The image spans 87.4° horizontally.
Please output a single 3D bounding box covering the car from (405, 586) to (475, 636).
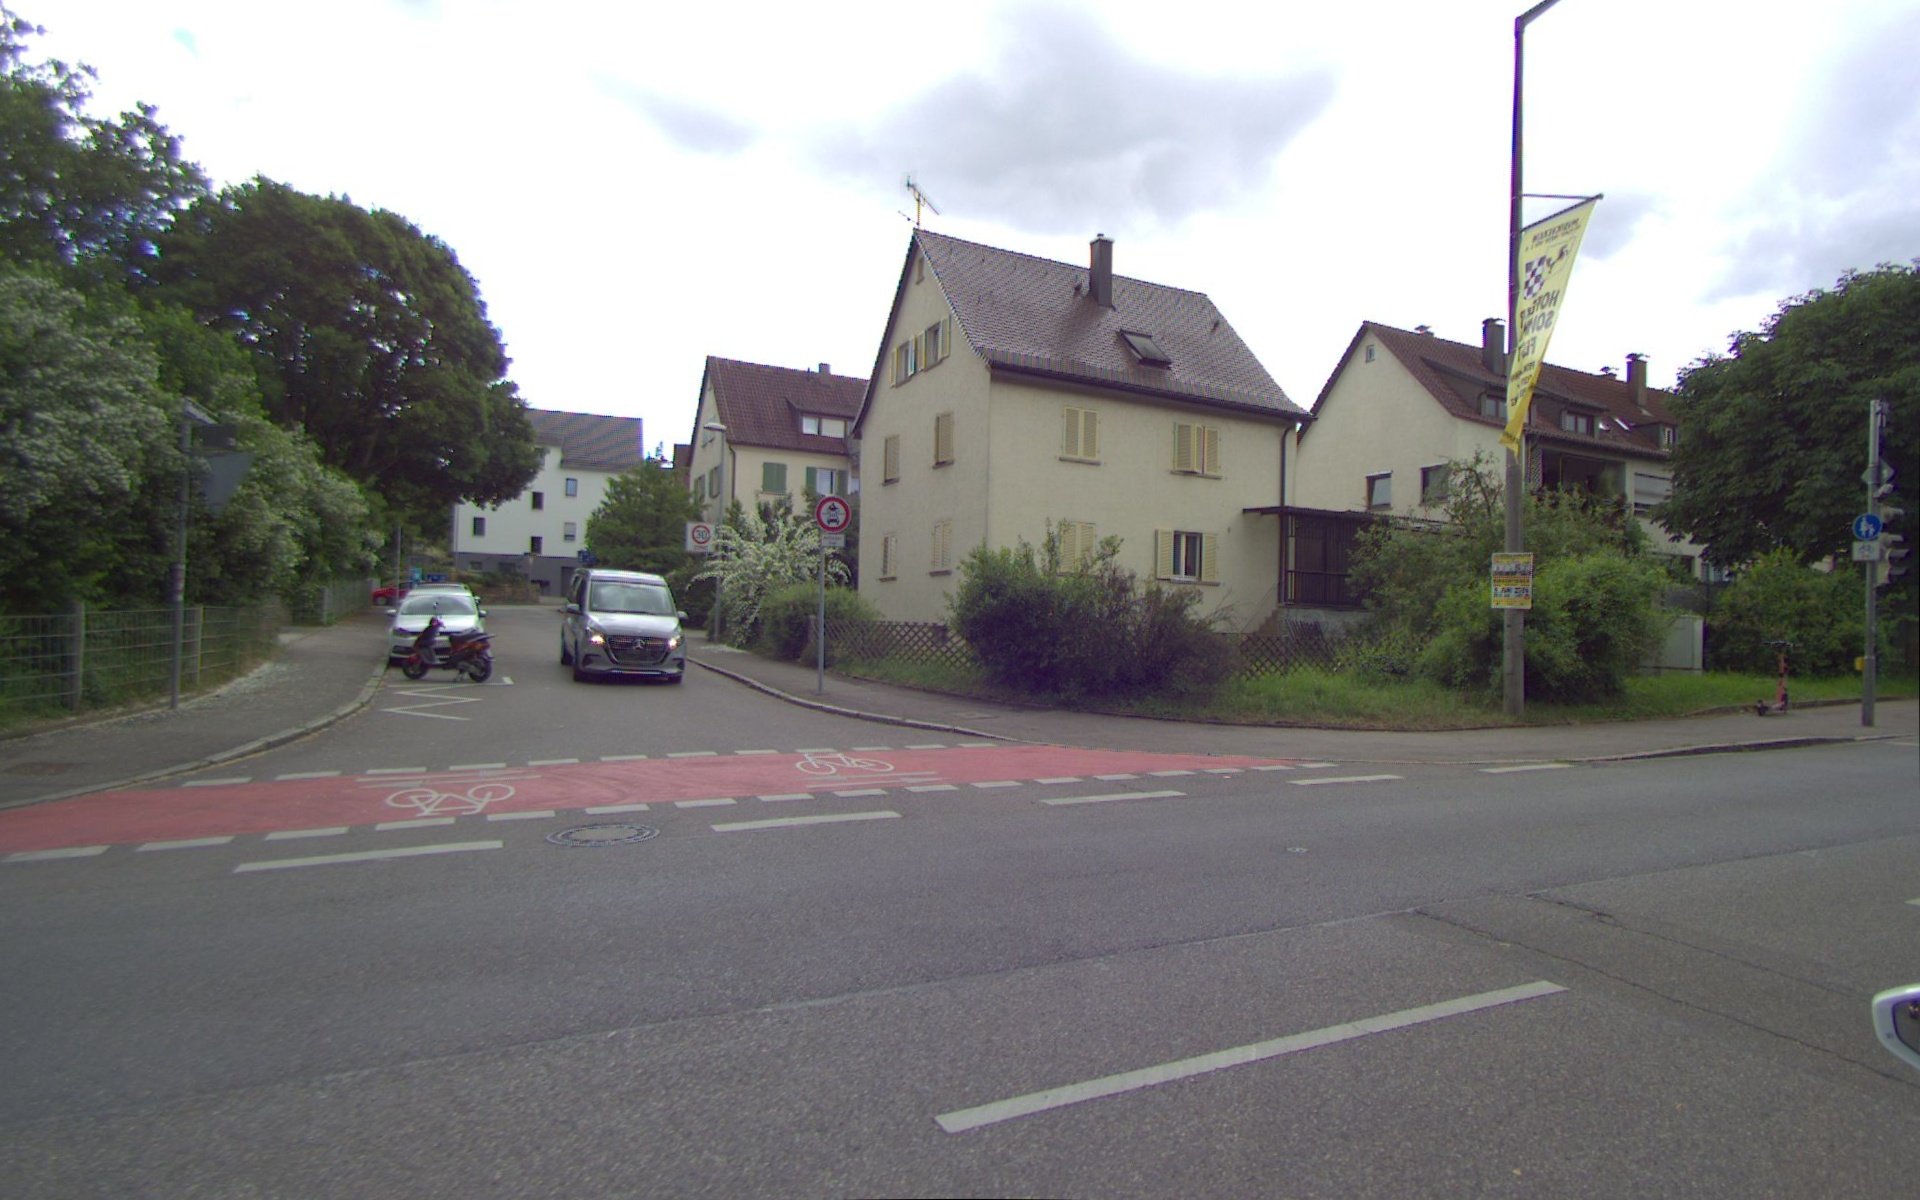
[{"bbox_3d":[-14.854,0.299,28.784,1.668,1.326,3.378,1,0,-27],"label":"car"}]

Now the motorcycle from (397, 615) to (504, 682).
[{"bbox_3d":[-8.613,0.809,16.993,1.615,1.082,0.461,1,0,8],"label":"motorcycle"}]

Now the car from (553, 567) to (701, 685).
[{"bbox_3d":[-6.638,0.404,19.608,1.928,1.953,5.118,3,1,-27],"label":"car"}]

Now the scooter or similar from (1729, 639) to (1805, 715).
[{"bbox_3d":[14.006,1.319,17.431,1.407,1.275,0.461,1,-1,-25],"label":"scooter or similar"}]

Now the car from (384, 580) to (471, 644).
[{"bbox_3d":[-13.305,0.278,25.229,1.778,1.462,3.882,1,0,-27],"label":"car"}]

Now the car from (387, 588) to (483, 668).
[{"bbox_3d":[-10.732,0.521,20.634,1.584,1.462,3.882,1,0,-27],"label":"car"}]

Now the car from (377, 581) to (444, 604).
[{"bbox_3d":[-32.250,-0.411,59.020,3.360,1.273,1.649,1,0,-29],"label":"car"}]

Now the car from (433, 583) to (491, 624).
[{"bbox_3d":[-16.605,0.121,33.505,1.640,1.273,3.378,1,0,-27],"label":"car"}]
